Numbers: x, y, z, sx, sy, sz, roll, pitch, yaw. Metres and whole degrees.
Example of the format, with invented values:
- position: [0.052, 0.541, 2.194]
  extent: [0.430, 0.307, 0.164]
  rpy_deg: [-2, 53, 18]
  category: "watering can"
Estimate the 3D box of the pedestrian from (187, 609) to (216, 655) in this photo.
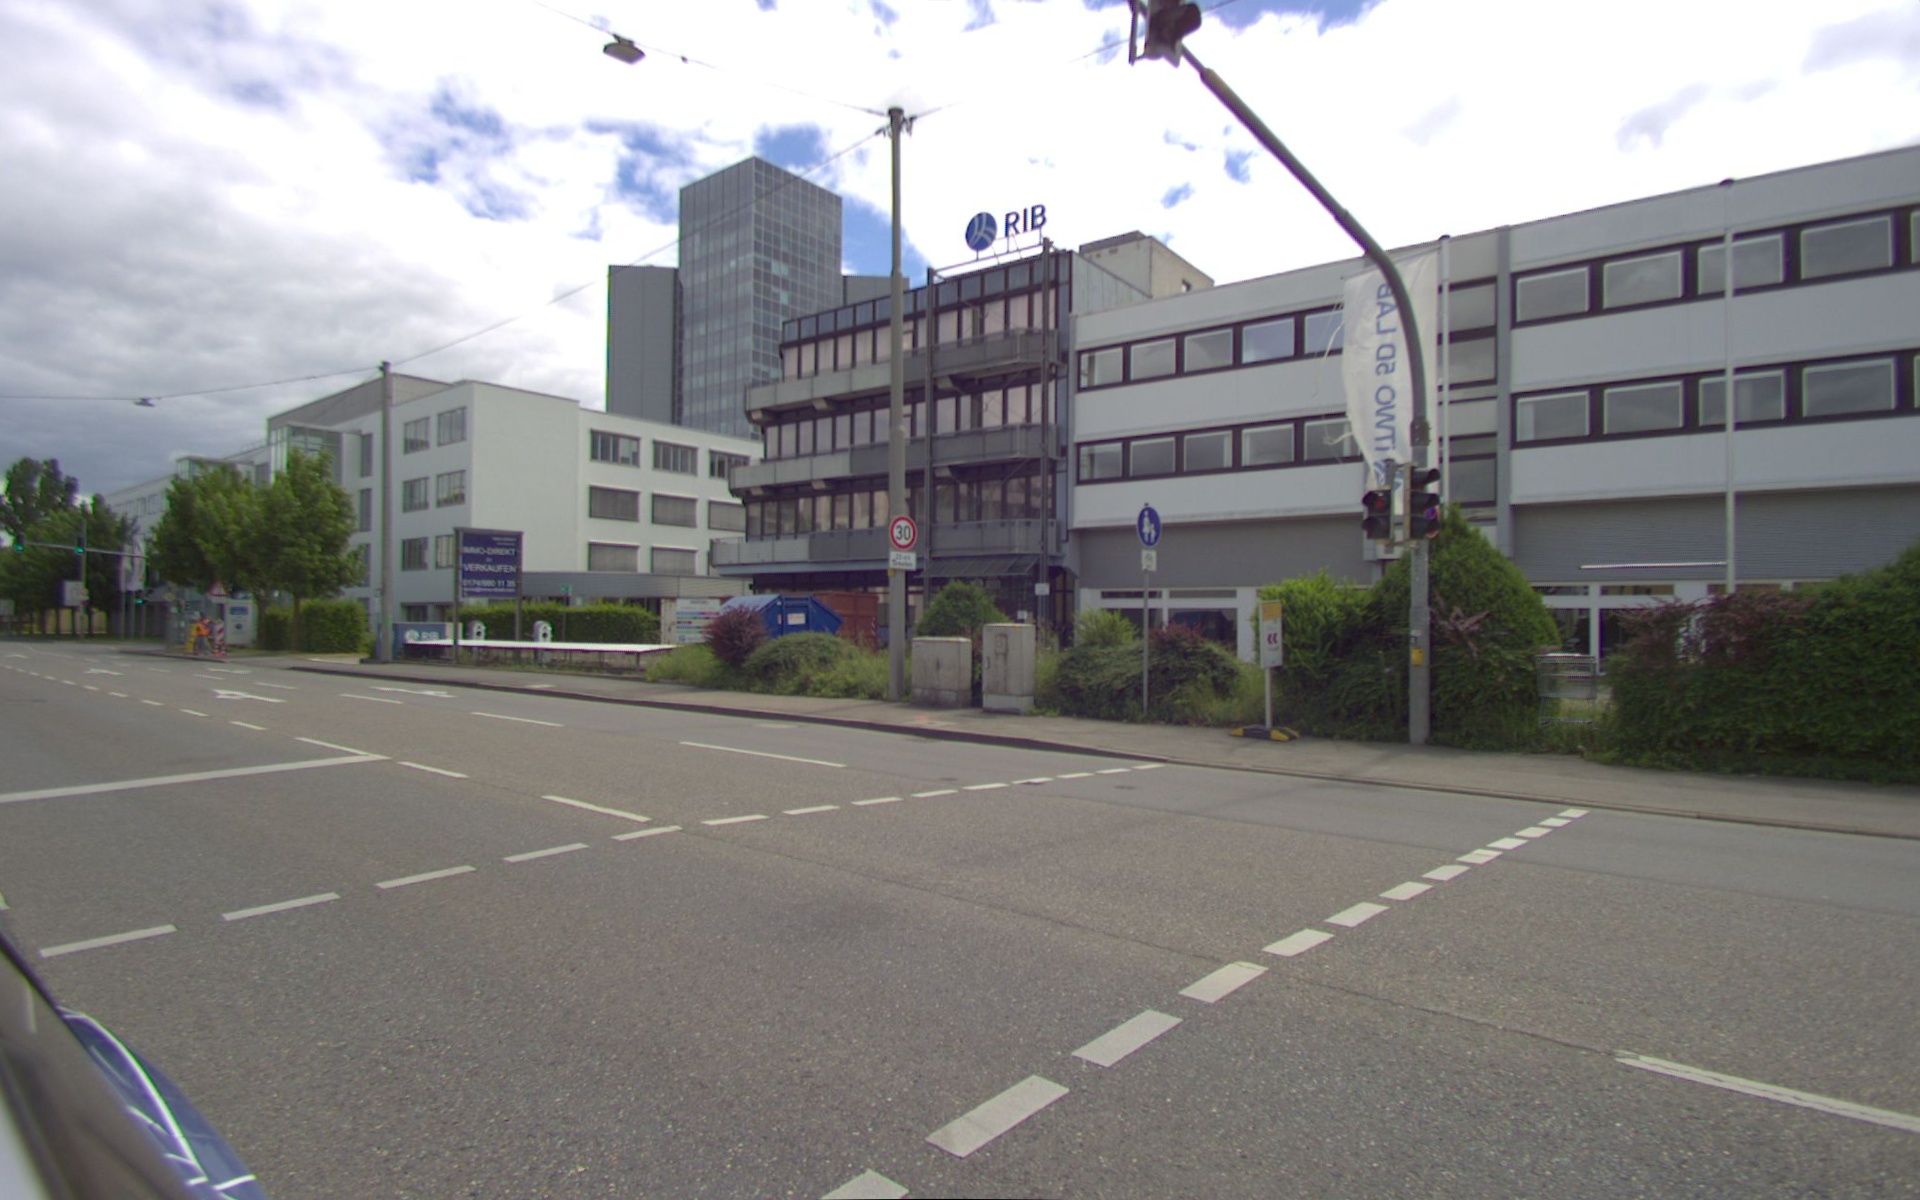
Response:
- position: [-33.715, 1.420, 44.990]
  extent: [0.715, 2.029, 0.812]
  rpy_deg: [-1, 0, -7]
  category: "pedestrian"
